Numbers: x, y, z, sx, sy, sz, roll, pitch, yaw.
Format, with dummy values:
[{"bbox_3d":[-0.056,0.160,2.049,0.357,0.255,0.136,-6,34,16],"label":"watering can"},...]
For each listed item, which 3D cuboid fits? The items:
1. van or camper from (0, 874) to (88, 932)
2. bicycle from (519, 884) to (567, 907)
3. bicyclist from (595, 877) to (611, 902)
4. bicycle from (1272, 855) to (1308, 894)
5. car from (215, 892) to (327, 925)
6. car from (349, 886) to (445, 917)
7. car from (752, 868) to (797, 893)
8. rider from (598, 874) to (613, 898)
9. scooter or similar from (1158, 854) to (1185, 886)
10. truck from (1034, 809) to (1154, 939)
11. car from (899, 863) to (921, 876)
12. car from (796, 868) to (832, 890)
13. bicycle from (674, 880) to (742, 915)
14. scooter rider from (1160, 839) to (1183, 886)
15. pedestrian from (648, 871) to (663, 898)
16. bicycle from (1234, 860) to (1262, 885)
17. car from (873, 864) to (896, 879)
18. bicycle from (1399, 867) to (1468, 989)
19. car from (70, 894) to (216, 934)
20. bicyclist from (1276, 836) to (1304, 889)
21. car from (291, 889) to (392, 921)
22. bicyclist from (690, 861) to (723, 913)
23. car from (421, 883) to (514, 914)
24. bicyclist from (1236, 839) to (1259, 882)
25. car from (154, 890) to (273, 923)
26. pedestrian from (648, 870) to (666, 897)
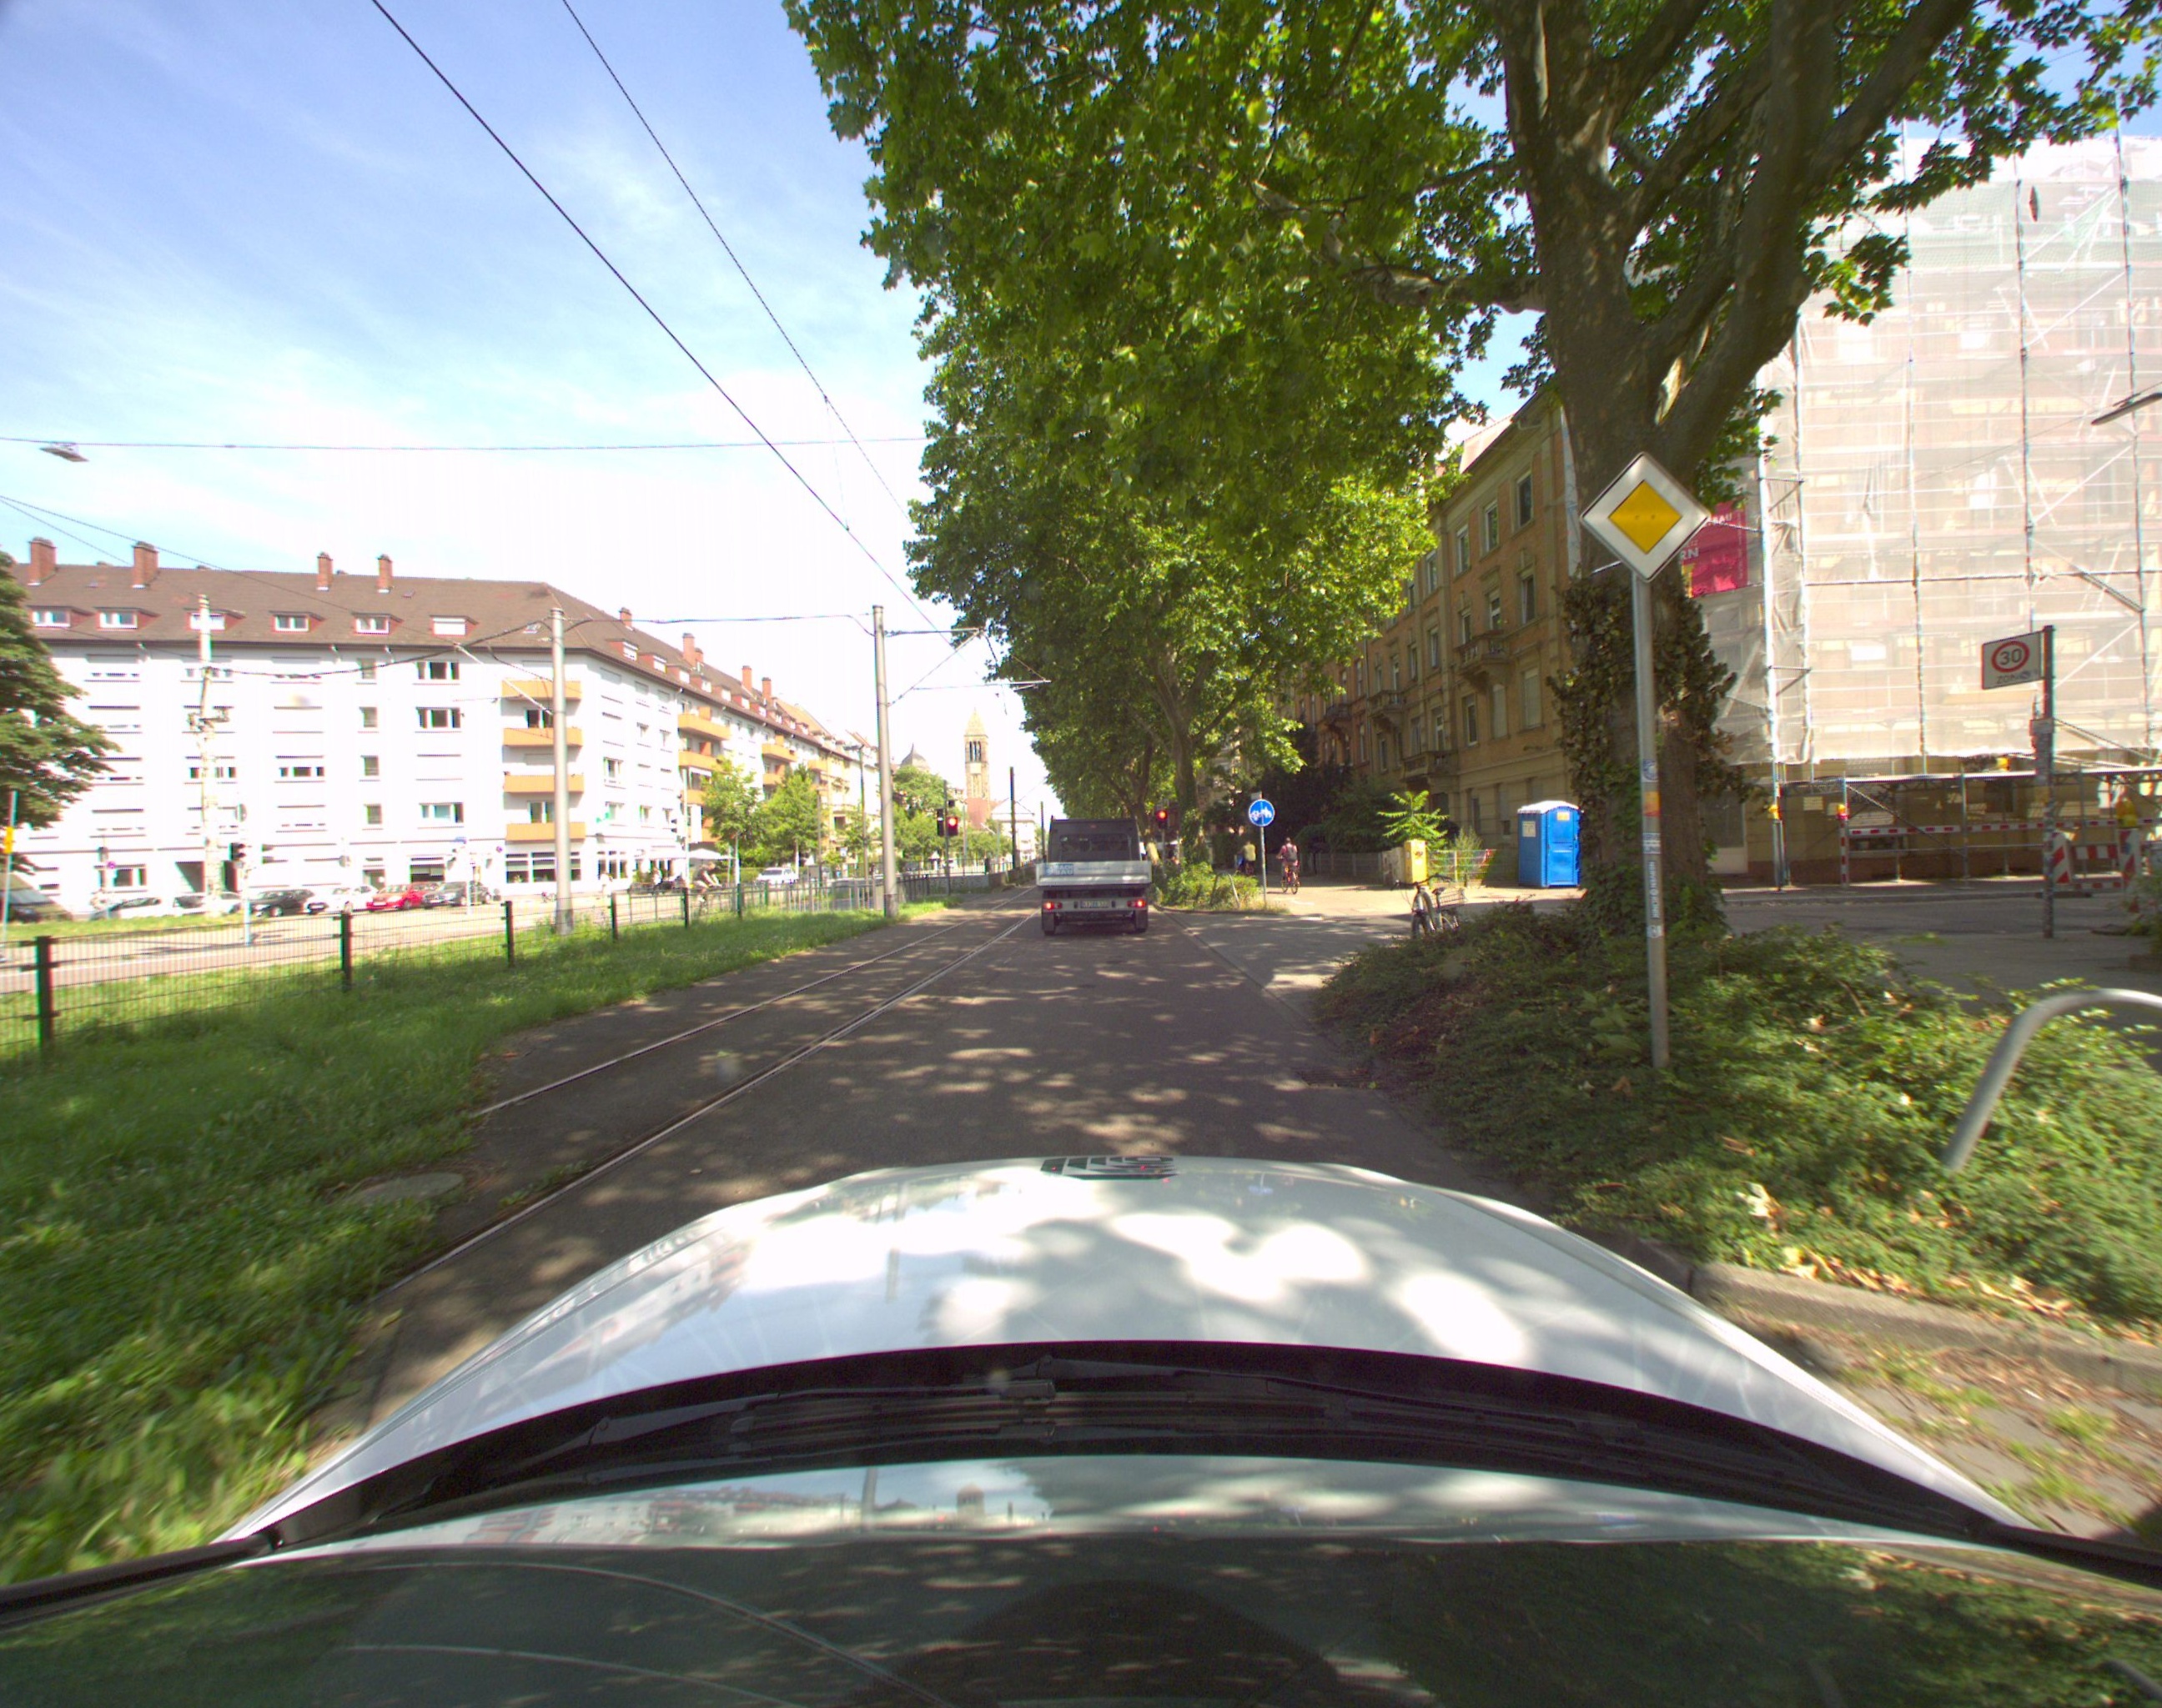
[{"bbox_3d":[-46.725,2.160,34.439,5.763,2.329,2.235,-2,0,-13],"label":"van or camper"},{"bbox_3d":[-30.506,2.331,46.229,0.908,1.137,2.806,-2,0,-3],"label":"bicycle"},{"bbox_3d":[-28.395,2.092,48.385,0.624,1.423,0.587,-2,-1,-16],"label":"bicyclist"},{"bbox_3d":[6.382,0.596,24.978,0.563,1.112,2.311,-2,0,2],"label":"bicycle"},{"bbox_3d":[-42.196,2.799,42.575,1.930,1.406,4.156,-2,0,-7],"label":"car"},{"bbox_3d":[-36.886,2.521,44.059,1.930,1.406,4.156,-3,0,-7],"label":"car"},{"bbox_3d":[-21.151,1.777,56.332,1.768,1.498,3.993,-4,0,-5],"label":"car"},{"bbox_3d":[-28.571,1.922,48.964,0.624,1.423,0.587,-2,-1,-16],"label":"rider"},{"bbox_3d":[3.630,0.627,32.574,0.649,1.204,1.278,-3,0,24],"label":"scooter or similar"},{"bbox_3d":[0.221,0.357,16.804,2.132,2.319,4.400,-1,0,-1],"label":"truck"},{"bbox_3d":[-20.963,1.924,99.984,1.765,1.498,3.998,-2,0,-1],"label":"car"},{"bbox_3d":[-21.218,1.981,64.838,1.768,1.498,3.993,-4,0,-5],"label":"car"},{"bbox_3d":[-12.065,1.400,26.369,1.912,1.049,0.533,-2,0,2],"label":"bicycle"},{"bbox_3d":[3.618,0.341,32.576,0.656,1.867,0.673,-3,0,23],"label":"scooter rider"},{"bbox_3d":[-25.629,1.844,49.072,0.691,1.572,0.542,-2,0,-24],"label":"pedestrian"},{"bbox_3d":[6.349,0.687,31.067,0.672,0.881,2.164,-3,0,2],"label":"bicycle"},{"bbox_3d":[-20.837,1.865,86.619,1.768,1.498,3.993,-2,0,-5],"label":"car"},{"bbox_3d":[3.715,0.724,8.532,0.417,1.105,1.627,-3,0,31],"label":"bicycle"},{"bbox_3d":[-40.958,2.577,35.672,3.749,1.406,1.823,-3,0,-17],"label":"car"},{"bbox_3d":[6.360,0.266,24.809,0.635,1.573,0.580,-2,0,1],"label":"bicyclist"},{"bbox_3d":[-39.666,2.719,43.832,1.930,1.406,4.156,-3,0,-7],"label":"car"},{"bbox_3d":[-12.128,1.052,26.379,0.689,1.623,0.625,-2,0,3],"label":"bicyclist"},{"bbox_3d":[-33.540,2.381,44.702,1.830,1.376,4.635,-3,0,-5],"label":"car"},{"bbox_3d":[6.326,0.244,31.020,0.678,1.563,0.777,-3,0,1],"label":"bicyclist"},{"bbox_3d":[-44.973,2.697,42.367,1.930,1.406,4.156,-2,0,-7],"label":"car"},{"bbox_3d":[-25.850,1.805,49.657,0.861,1.572,0.685,-2,0,-24],"label":"pedestrian"}]
